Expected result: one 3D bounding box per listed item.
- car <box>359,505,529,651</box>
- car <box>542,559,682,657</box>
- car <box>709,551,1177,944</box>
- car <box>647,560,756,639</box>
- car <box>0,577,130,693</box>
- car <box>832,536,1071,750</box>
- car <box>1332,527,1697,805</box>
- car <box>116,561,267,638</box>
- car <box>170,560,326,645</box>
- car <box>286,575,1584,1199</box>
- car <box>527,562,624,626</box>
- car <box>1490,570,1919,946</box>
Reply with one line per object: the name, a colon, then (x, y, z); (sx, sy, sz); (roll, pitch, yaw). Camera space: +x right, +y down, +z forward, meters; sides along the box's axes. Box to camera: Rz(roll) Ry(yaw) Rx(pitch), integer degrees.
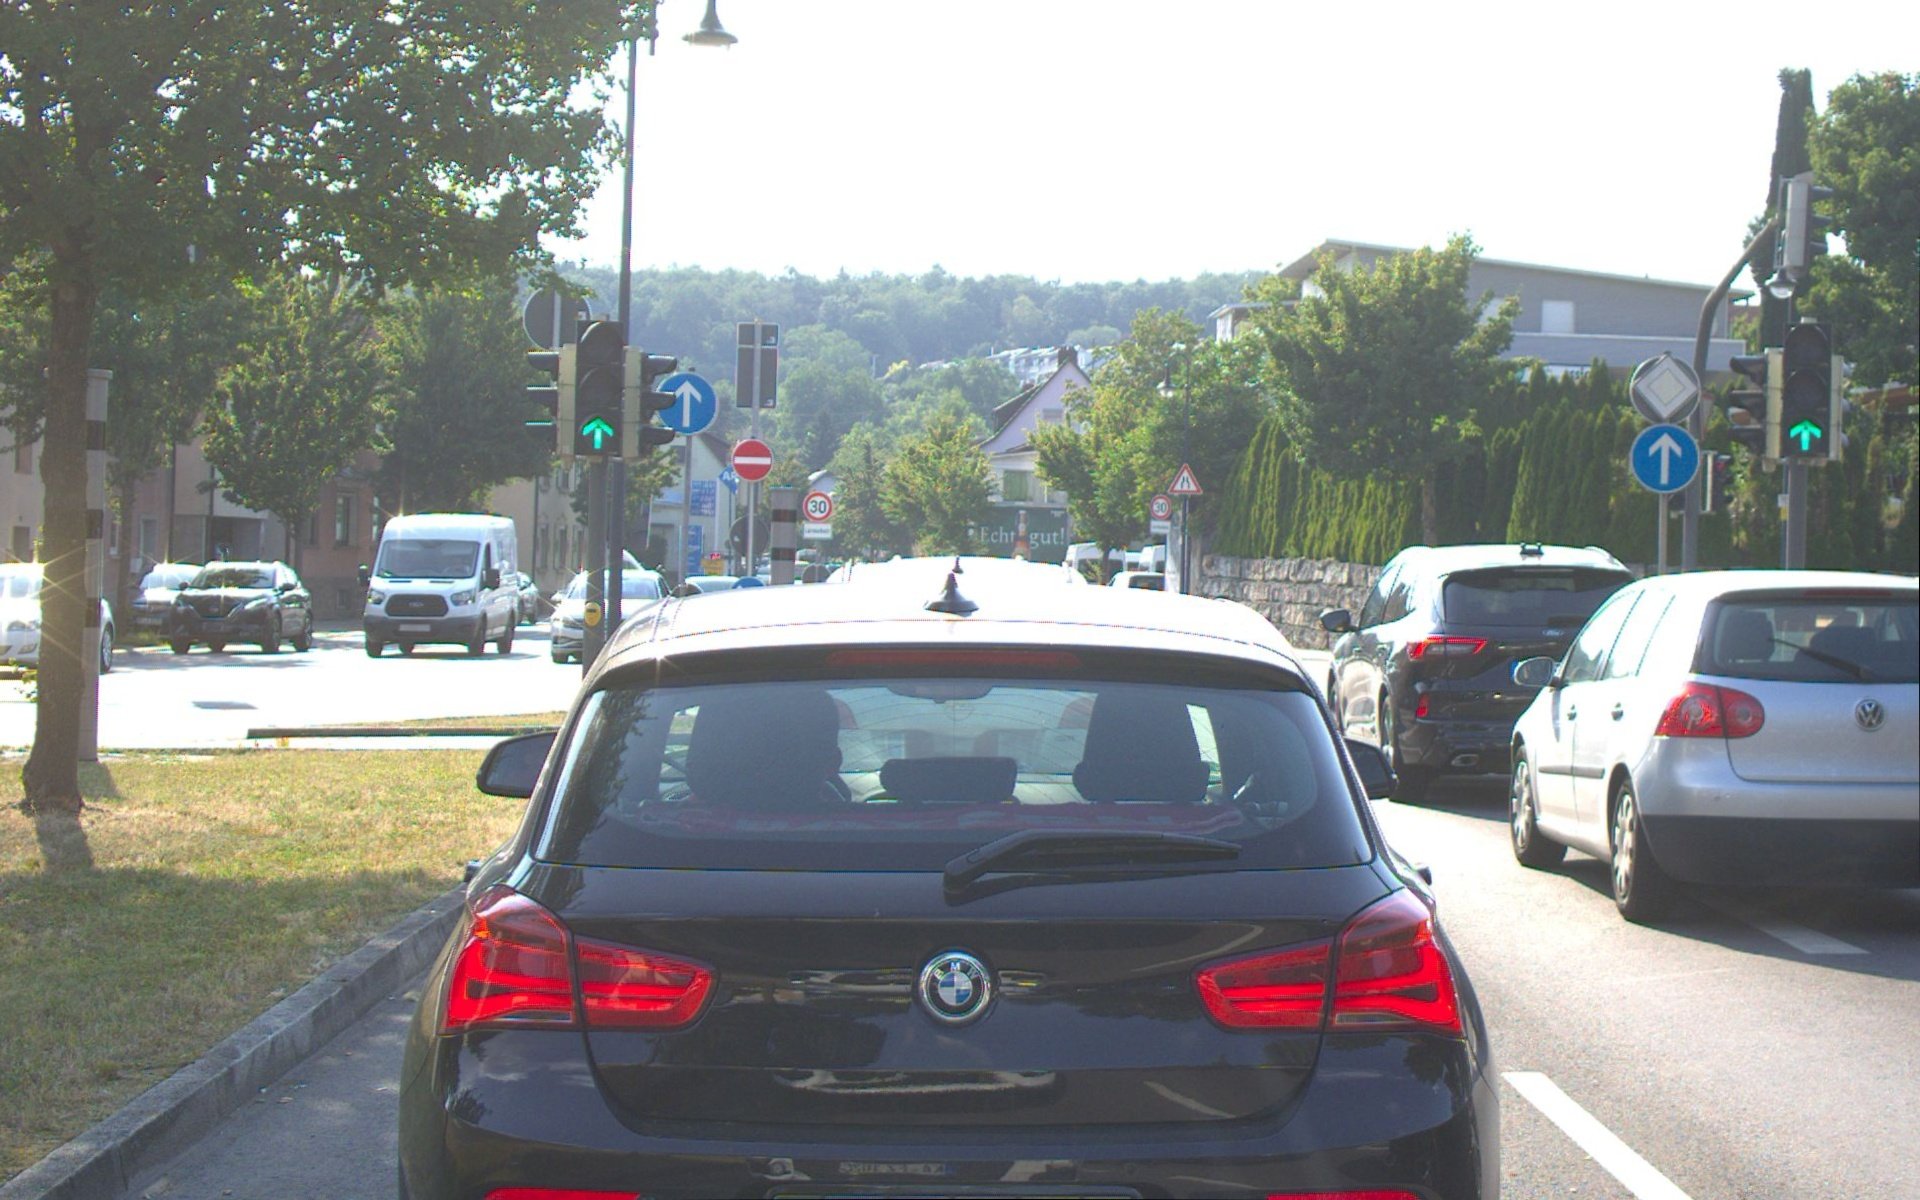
car: (-8.952, -0.398, 60.076); (2.084, 2.385, 5.528); (1, 1, 0)
car: (-5.582, 0.102, 55.474); (1.839, 1.477, 4.000); (1, 1, 0)
car: (-0.062, 0.539, 15.409); (1.788, 1.488, 4.281); (-1, 1, 0)
car: (-5.083, -0.024, 68.033); (1.839, 1.477, 4.000); (1, 1, 0)
car: (-12.412, 0.430, 45.416); (1.737, 1.296, 3.799); (5, 1, 2)
car: (-0.061, 0.286, 28.028); (1.788, 1.588, 4.281); (-1, 1, 0)
car: (3.542, 0.364, 22.611); (1.761, 1.650, 3.903); (-1, 1, 0)
car: (-14.931, -0.029, 67.001); (1.737, 1.296, 4.000); (5, 1, 3)
car: (-12.557, 0.018, 60.831); (1.737, 1.296, 3.799); (5, 1, 2)
car: (-0.028, 0.678, 6.904); (1.788, 1.393, 4.281); (-1, 1, 0)
car: (-9.314, -0.161, 83.448); (1.839, 1.477, 4.000); (1, 1, 1)
car: (3.566, 0.604, 15.433); (1.761, 1.421, 3.903); (-1, 1, 0)
